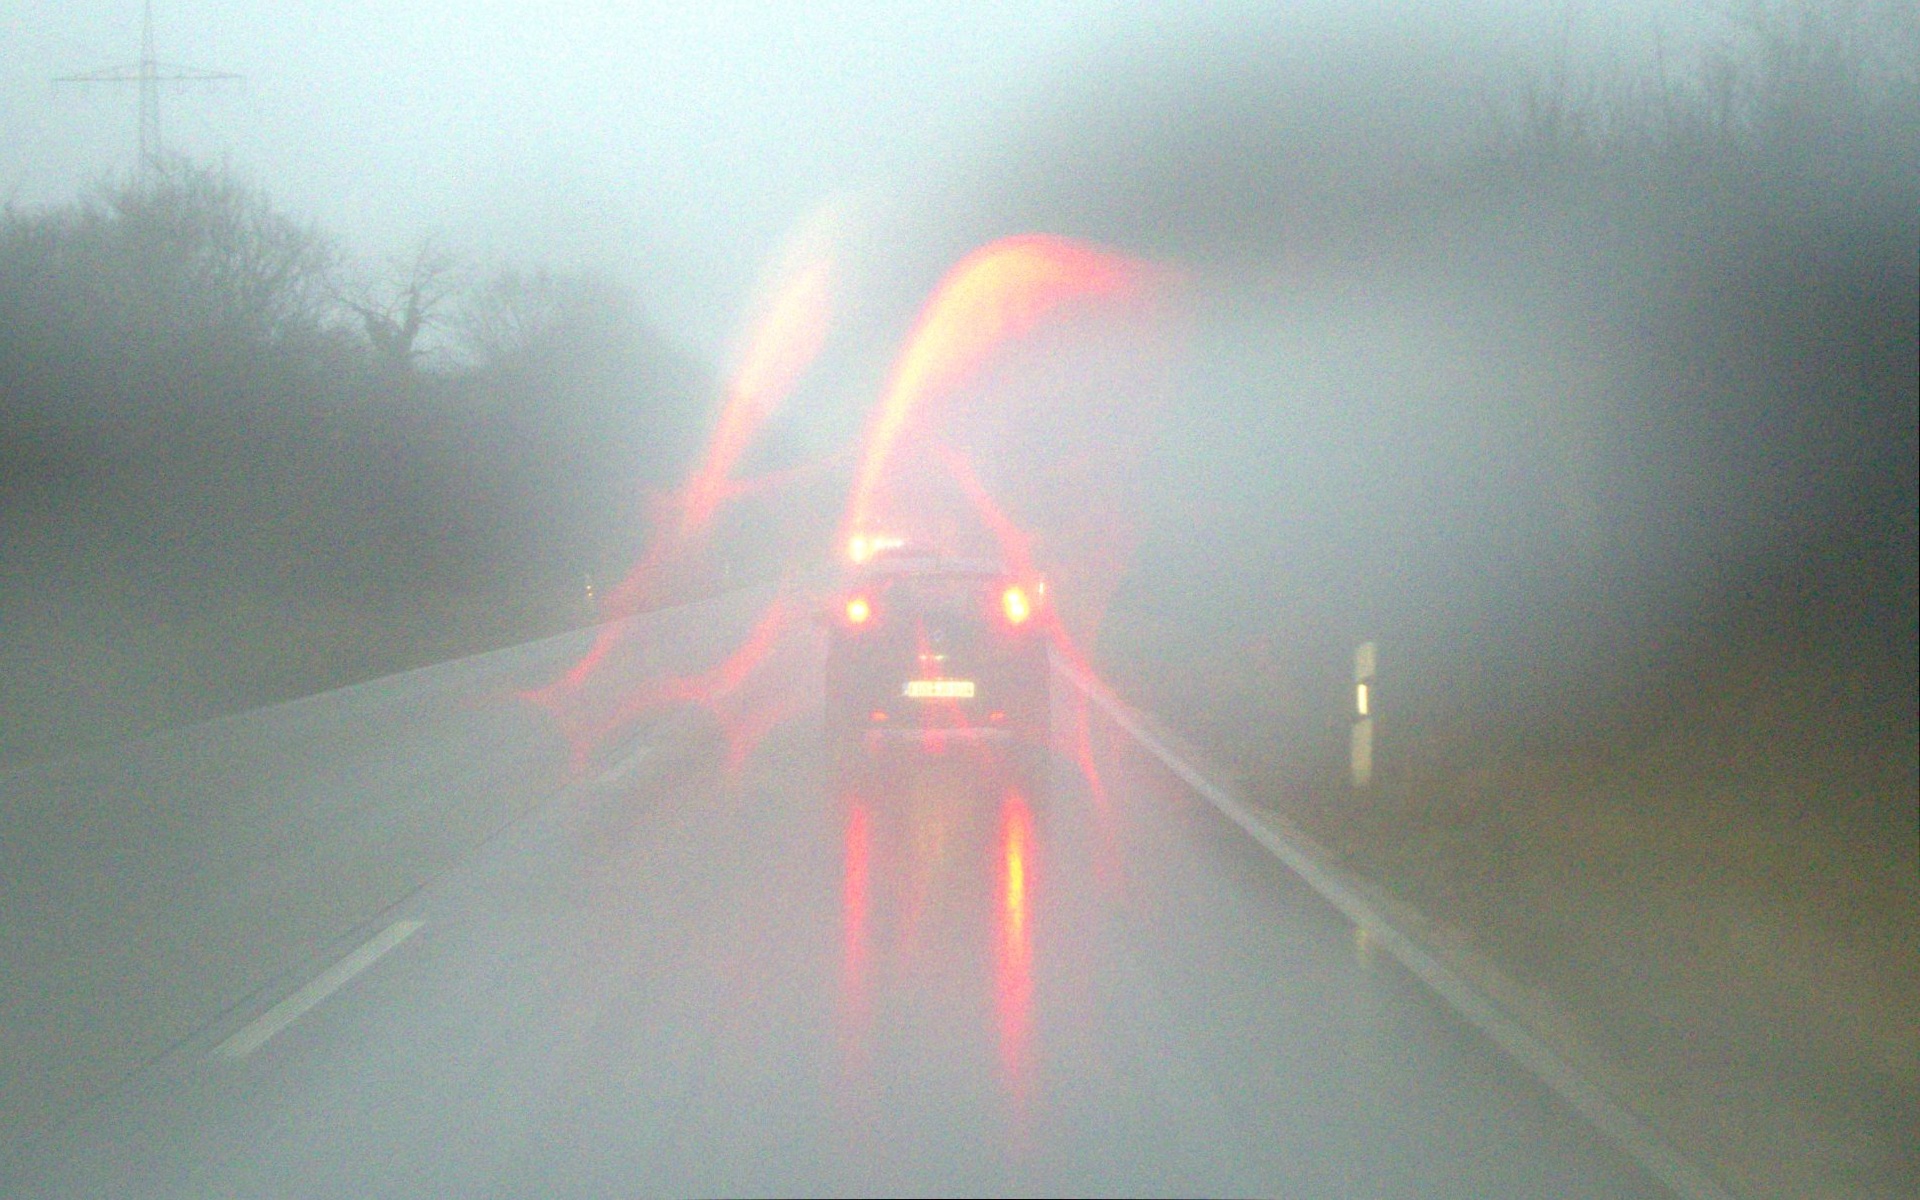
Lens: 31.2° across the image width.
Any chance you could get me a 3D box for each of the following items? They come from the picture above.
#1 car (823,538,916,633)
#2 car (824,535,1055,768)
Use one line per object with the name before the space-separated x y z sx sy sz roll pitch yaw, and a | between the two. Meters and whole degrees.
car | -1.743 -0.303 66.580 1.733 1.773 4.000 0 1 -1
car | -0.170 0.350 26.513 1.648 1.666 3.514 0 1 -1
